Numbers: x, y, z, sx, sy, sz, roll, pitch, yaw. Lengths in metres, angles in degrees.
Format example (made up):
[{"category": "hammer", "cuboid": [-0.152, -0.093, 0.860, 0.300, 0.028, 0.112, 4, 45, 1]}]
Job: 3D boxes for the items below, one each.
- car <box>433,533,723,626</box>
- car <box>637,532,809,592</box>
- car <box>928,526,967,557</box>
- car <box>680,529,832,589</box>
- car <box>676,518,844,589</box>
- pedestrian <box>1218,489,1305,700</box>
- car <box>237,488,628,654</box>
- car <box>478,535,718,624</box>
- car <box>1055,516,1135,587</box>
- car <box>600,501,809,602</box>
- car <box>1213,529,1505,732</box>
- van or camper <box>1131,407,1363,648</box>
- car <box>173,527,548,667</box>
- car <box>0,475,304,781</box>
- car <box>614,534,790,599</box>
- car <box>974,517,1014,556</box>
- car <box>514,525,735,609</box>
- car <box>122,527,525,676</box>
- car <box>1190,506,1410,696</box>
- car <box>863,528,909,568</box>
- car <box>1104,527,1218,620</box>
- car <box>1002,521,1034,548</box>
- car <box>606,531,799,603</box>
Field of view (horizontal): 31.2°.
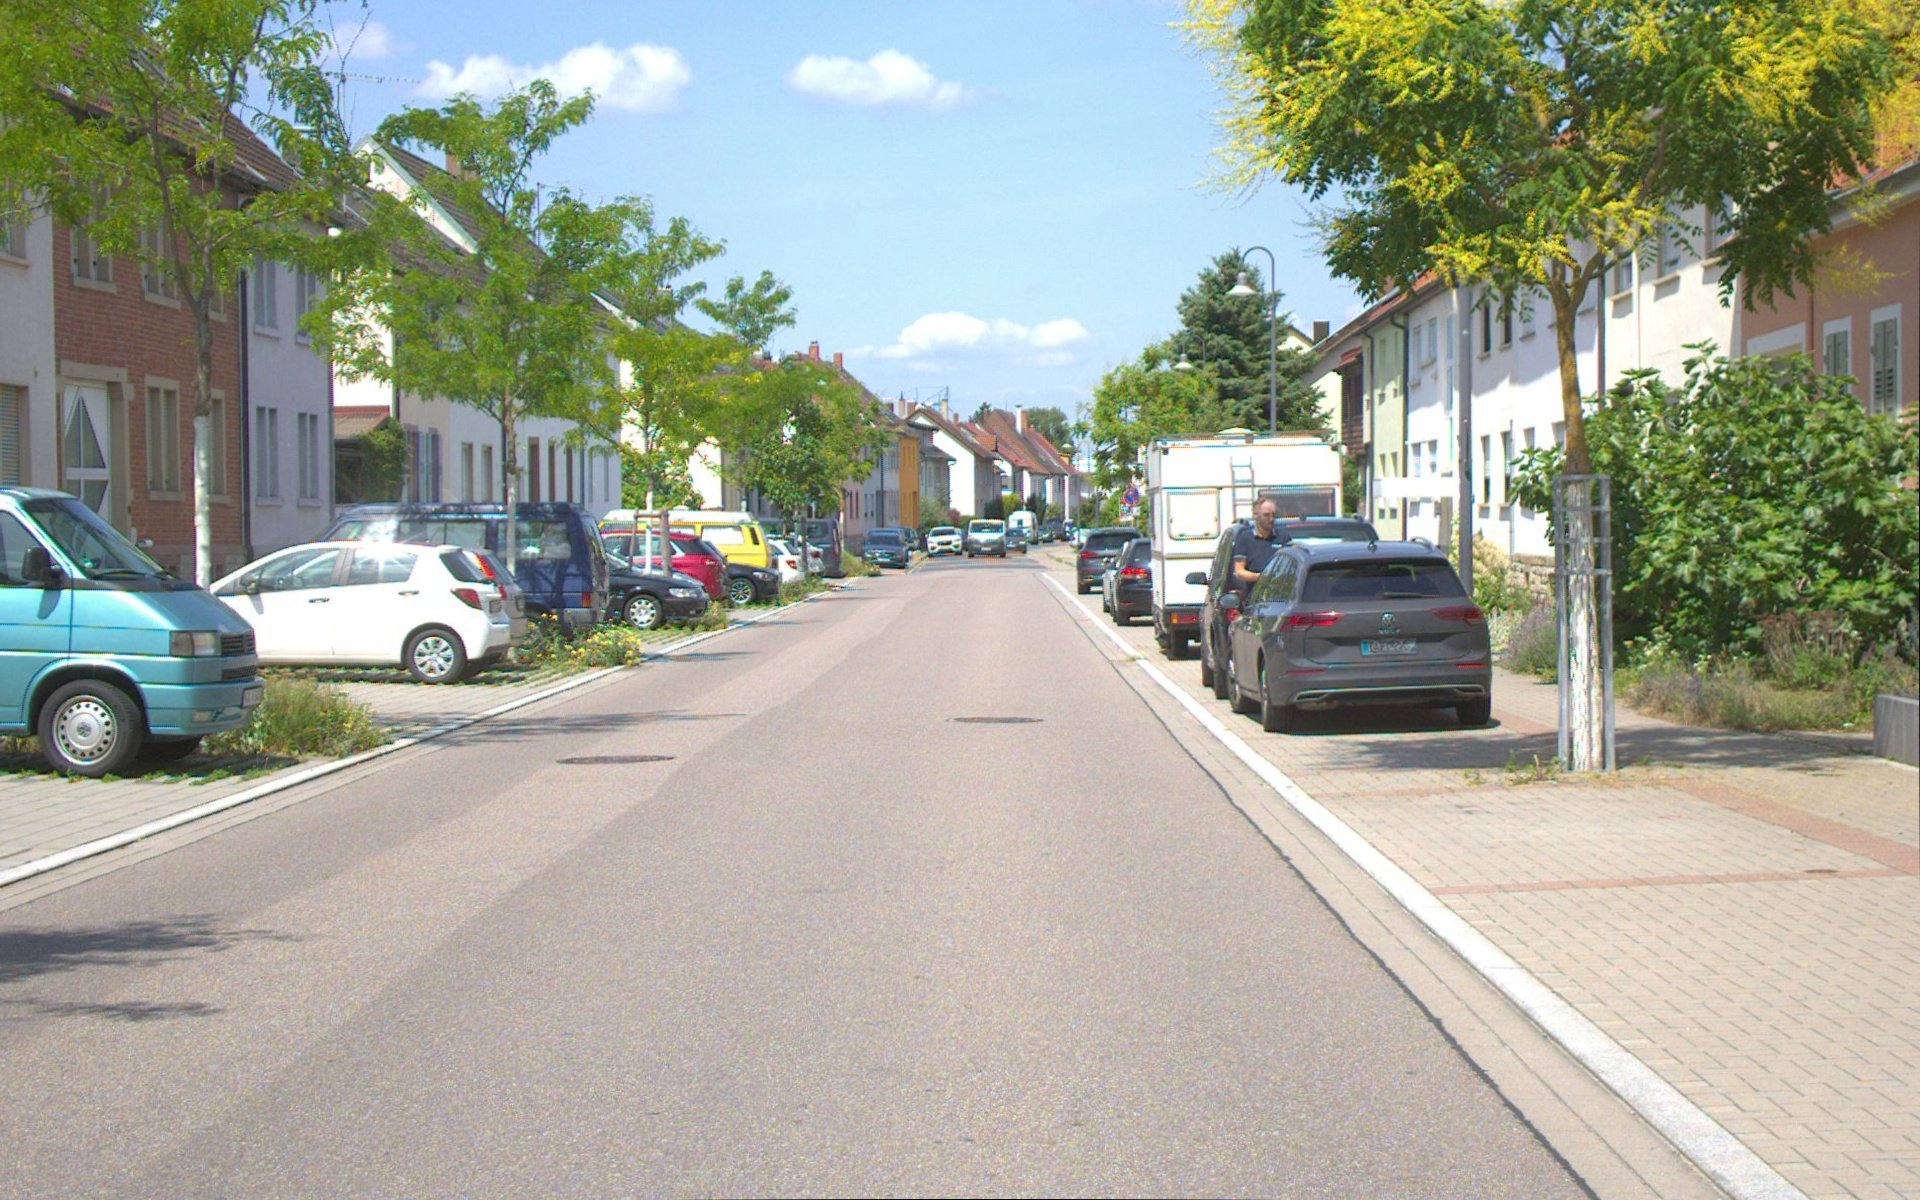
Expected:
[{"category": "car", "cuboid": [-6.228, -0.345, 56.361, 4.524, 1.420, 1.796, 1, 1, 1]}, {"category": "car", "cuboid": [-6.173, -0.990, 89.929, 4.295, 1.463, 1.774, 1, 0, 3]}, {"category": "car", "cuboid": [-0.707, -3.270, 193.419, 1.850, 1.653, 3.999, 2, 1, 4]}, {"category": "car", "cuboid": [-5.721, -1.149, 96.799, 4.182, 1.563, 1.774, 2, 0, -2]}, {"category": "car", "cuboid": [-5.772, -1.341, 99.580, 4.700, 1.916, 1.938, 2, 0, 1]}, {"category": "pedestrian", "cuboid": [2.664, -0.050, 30.407, 0.716, 1.847, 0.578, 0, 1, 1]}, {"category": "car", "cuboid": [-6.694, -0.379, 43.918, 4.613, 1.989, 1.953, 1, 1, 3]}, {"category": "car", "cuboid": [-6.322, -0.370, 60.349, 4.053, 1.473, 1.776, 1, 1, -1]}, {"category": "car", "cuboid": [3.383, -1.232, 85.682, 1.864, 1.630, 4.446, -2, 2, 3]}, {"category": "car", "cuboid": [-5.720, -1.098, 77.386, 4.508, 2.170, 1.925, 1, 1, 1]}, {"category": "car", "cuboid": [3.094, 0.188, 27.430, 1.767, 1.483, 4.297, 0, 1, -1]}, {"category": "van or camper", "cuboid": [3.543, -0.931, 43.567, 2.473, 2.800, 5.790, -1, 1, 1]}, {"category": "car", "cuboid": [-6.817, -0.052, 39.330, 3.916, 1.483, 1.772, 1, 1, 3]}, {"category": "car", "cuboid": [-6.927, 0.126, 22.851, 4.677, 1.900, 2.000, 2, 0, 2]}, {"category": "car", "cuboid": [-6.161, -0.802, 81.909, 4.071, 1.463, 1.754, 1, 1, -7]}, {"category": "car", "cuboid": [1.725, -3.250, 177.123, 2.022, 1.943, 4.898, 0, 0, 0]}, {"category": "car", "cuboid": [-6.750, -0.676, 69.482, 4.253, 1.606, 1.843, 1, 1, 0]}, {"category": "car", "cuboid": [-6.765, -0.001, 36.780, 3.916, 1.483, 1.772, 1, 1, 3]}, {"category": "car", "cuboid": [3.198, -0.030, 33.059, 1.767, 1.699, 4.325, 0, 1, 1]}, {"category": "car", "cuboid": [-3.103, -2.206, 144.553, 1.816, 1.428, 4.140, 4, 2, -2]}, {"category": "car", "cuboid": [3.379, -0.470, 58.319, 1.767, 1.524, 4.007, 0, 1, 1]}, {"category": "car", "cuboid": [3.425, -3.885, 203.604, 1.762, 1.517, 4.049, -2, 1, 0]}, {"category": "car", "cuboid": [-5.578, -0.725, 74.803, 4.010, 1.454, 1.755, 1, 1, 1]}]
